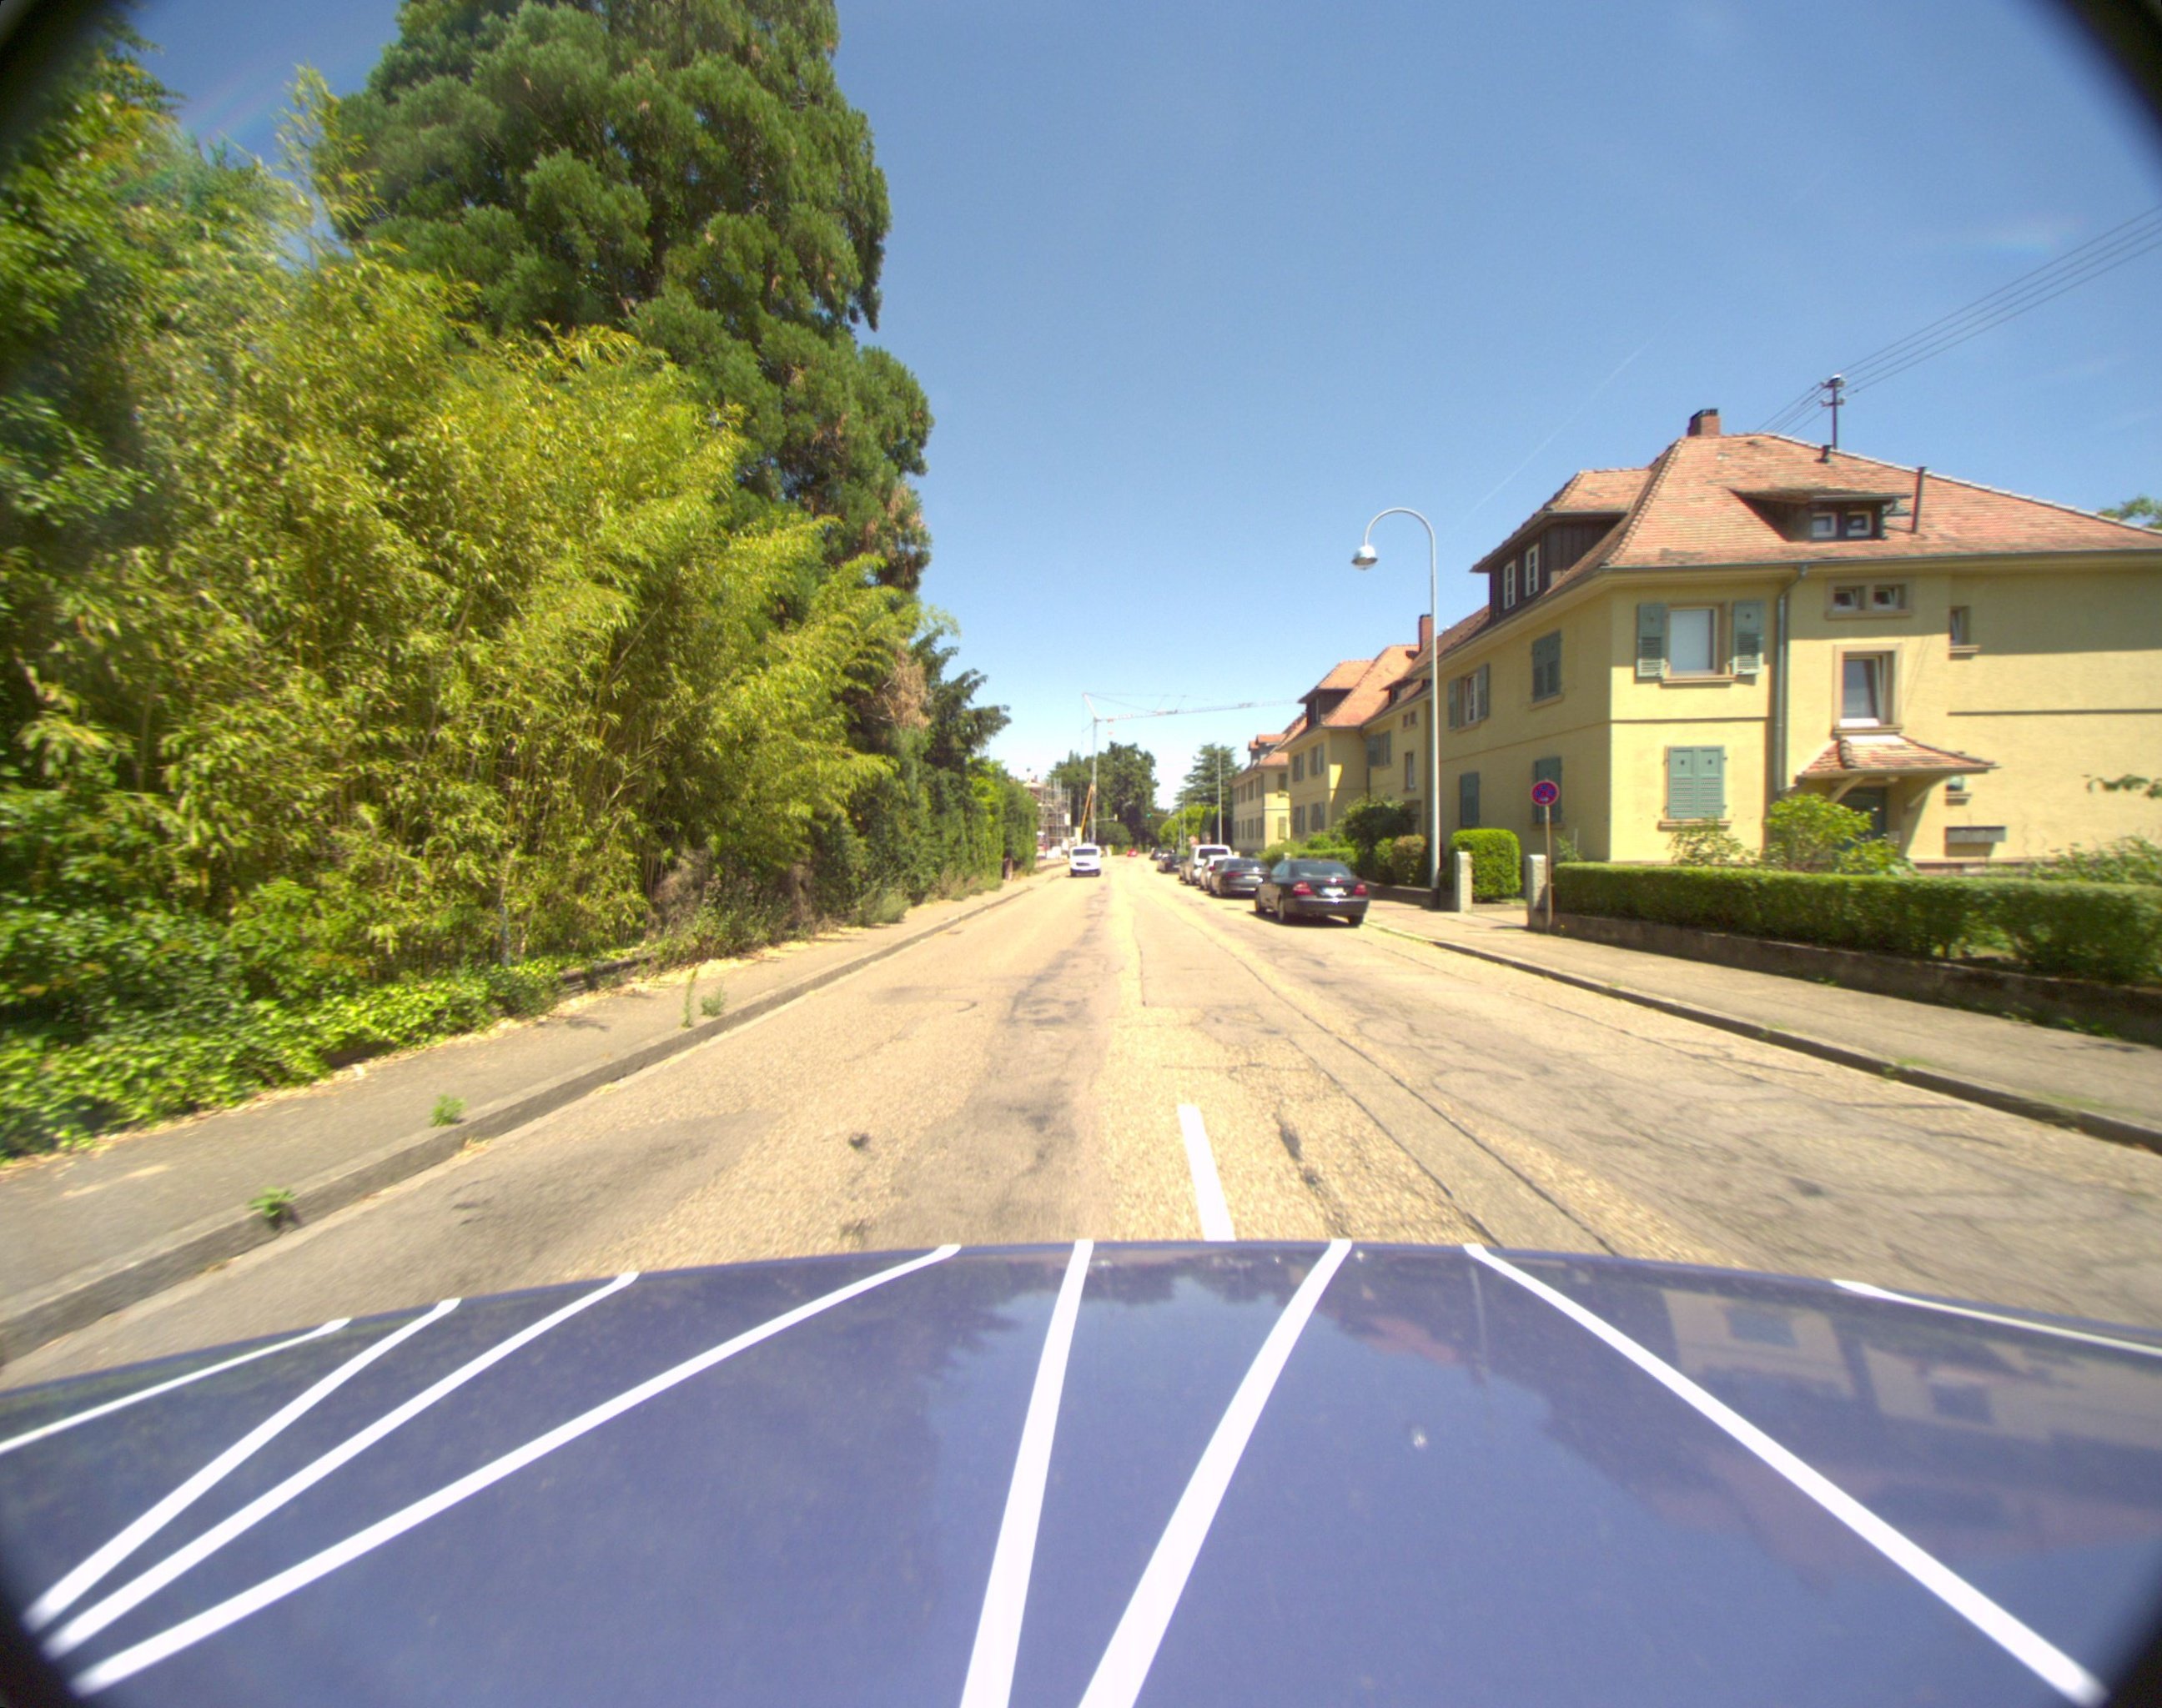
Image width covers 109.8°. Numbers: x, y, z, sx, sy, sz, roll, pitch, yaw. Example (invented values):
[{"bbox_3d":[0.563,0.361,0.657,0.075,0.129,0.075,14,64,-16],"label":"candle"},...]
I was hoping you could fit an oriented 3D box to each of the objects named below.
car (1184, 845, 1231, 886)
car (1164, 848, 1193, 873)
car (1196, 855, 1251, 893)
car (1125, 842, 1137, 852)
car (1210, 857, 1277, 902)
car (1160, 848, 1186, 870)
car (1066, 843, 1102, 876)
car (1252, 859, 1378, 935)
[{"bbox_3d":[6.024,0.519,36.461,1.753,1.885,4.000,0,0,3],"label":"car"},{"bbox_3d":[7.287,0.452,57.015,1.998,1.674,4.001,-2,1,6],"label":"car"},{"bbox_3d":[5.865,0.776,31.675,1.753,1.427,4.001,0,0,4],"label":"car"},{"bbox_3d":[9.386,-1.303,141.900,1.998,1.740,3.999,-2,1,1],"label":"car"},{"bbox_3d":[5.563,0.825,26.400,1.753,1.390,4.001,0,0,5],"label":"car"},{"bbox_3d":[7.532,0.382,62.437,1.998,1.674,4.001,-2,1,6],"label":"car"},{"bbox_3d":[0.271,0.319,49.043,1.998,2.002,4.387,-2,1,4],"label":"car"},{"bbox_3d":[5.098,0.869,17.112,1.753,1.390,4.000,1,1,3],"label":"car"}]
